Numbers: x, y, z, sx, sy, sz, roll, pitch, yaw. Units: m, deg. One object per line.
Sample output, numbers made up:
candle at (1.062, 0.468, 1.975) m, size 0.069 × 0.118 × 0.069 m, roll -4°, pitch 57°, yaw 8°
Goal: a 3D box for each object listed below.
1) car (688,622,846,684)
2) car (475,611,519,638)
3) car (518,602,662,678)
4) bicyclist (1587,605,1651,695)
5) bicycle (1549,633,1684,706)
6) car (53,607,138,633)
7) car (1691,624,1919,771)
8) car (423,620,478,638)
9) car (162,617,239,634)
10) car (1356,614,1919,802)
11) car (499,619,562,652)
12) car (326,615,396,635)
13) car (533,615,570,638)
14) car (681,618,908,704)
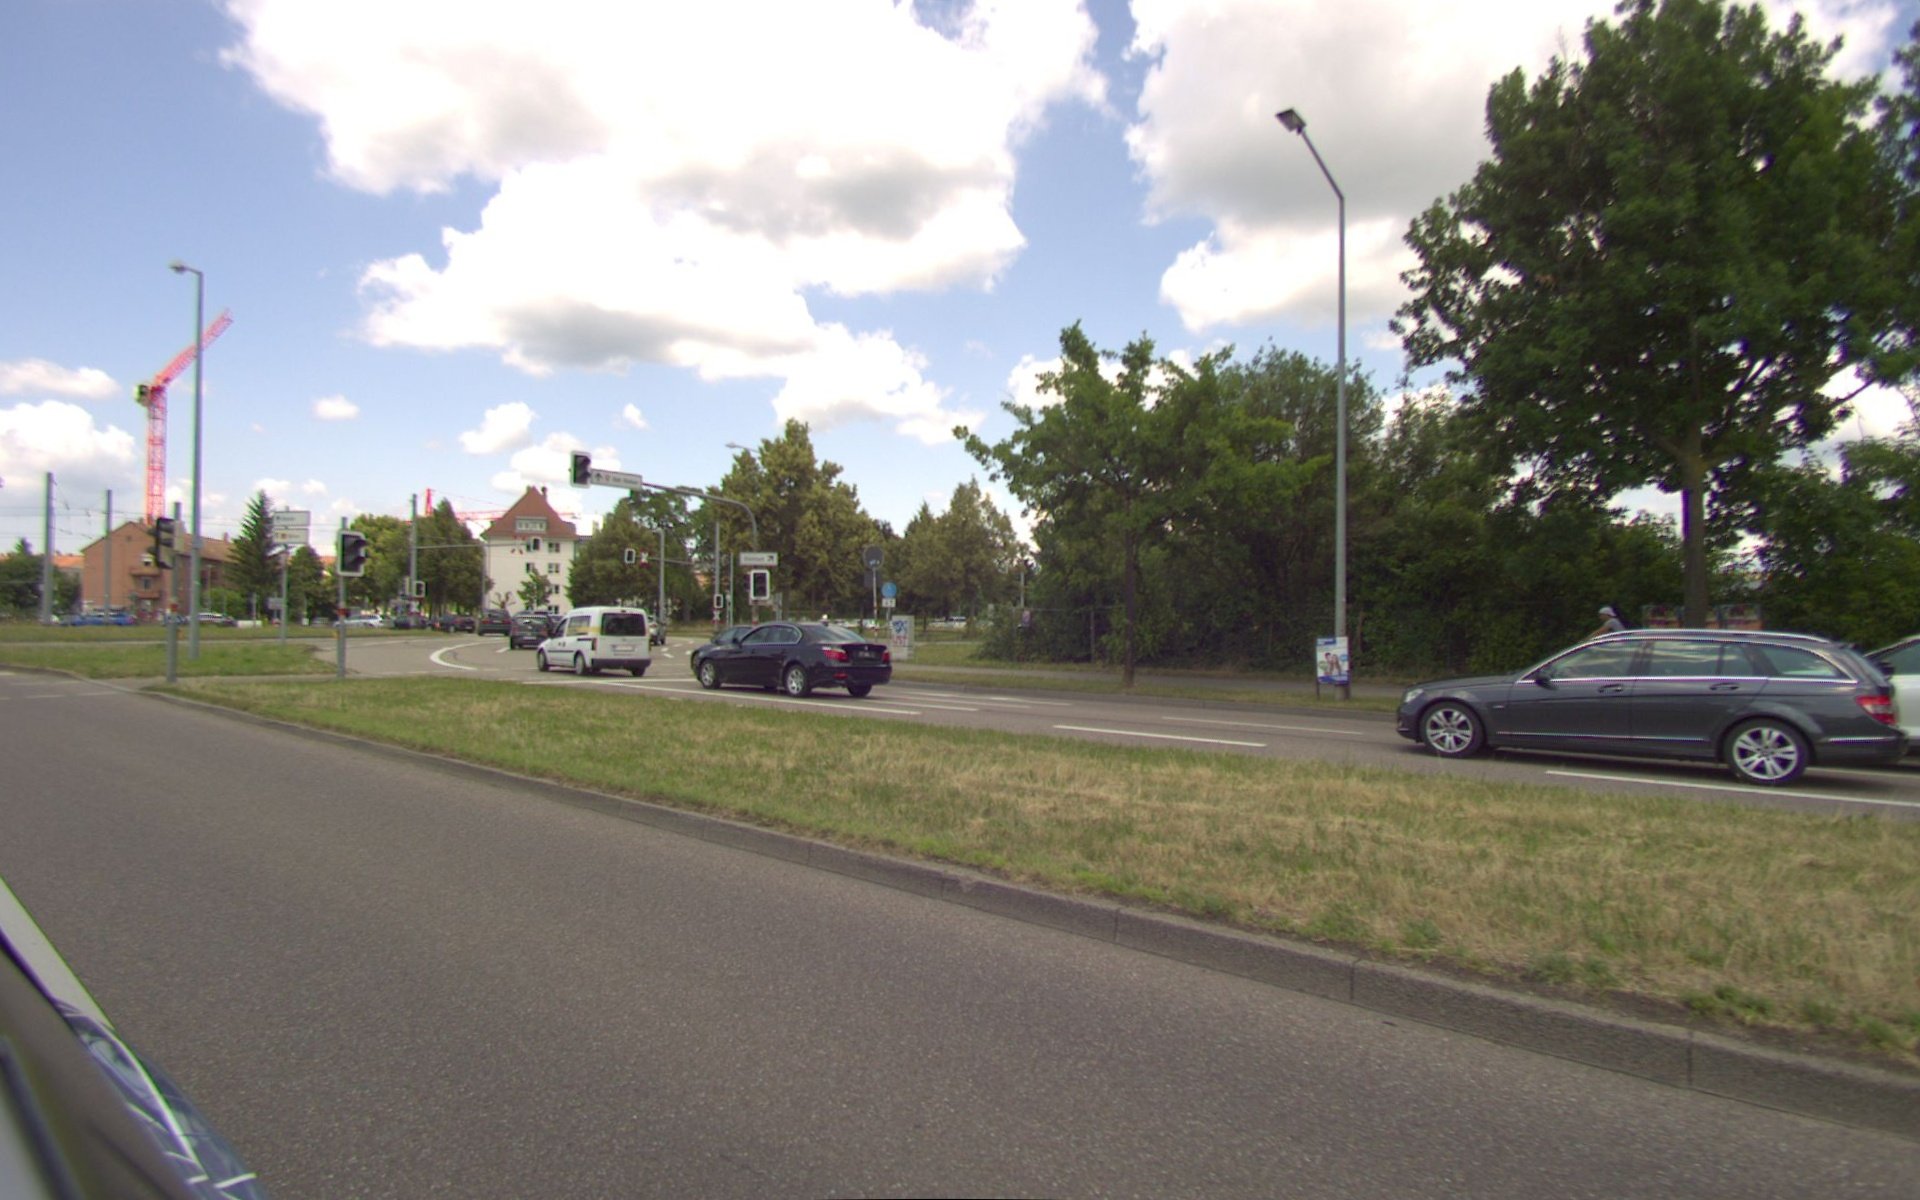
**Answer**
car at (-5.069, 1.339, 26.197) m, size 1.817 × 1.454 × 4.421 m, roll 4°, pitch -4°, yaw -45°
car at (-28.705, 1.531, 62.872) m, size 1.881 × 1.604 × 4.606 m, roll 1°, pitch -1°, yaw -17°
car at (-9.729, 1.024, 26.385) m, size 1.815 × 1.813 × 4.793 m, roll 4°, pitch -3°, yaw -42°
bicyclist at (12.157, 0.897, 18.664) m, size 0.883 × 1.576 × 0.821 m, roll -1°, pitch 0°, yaw 40°
bicycle at (12.117, 1.251, 18.714) m, size 2.015 × 1.228 × 0.753 m, roll -1°, pitch 0°, yaw 41°
car at (-62.158, 1.428, 72.829) m, size 4.331 × 1.812 × 1.762 m, roll 0°, pitch -1°, yaw -24°
car at (10.947, 1.061, 11.312) m, size 4.365 × 1.552 × 1.890 m, roll -1°, pitch -3°, yaw 41°
car at (-38.985, 2.201, 77.432) m, size 3.961 × 1.351 × 1.785 m, roll -1°, pitch -3°, yaw 29°
car at (-59.261, 1.985, 79.054) m, size 4.413 × 1.333 × 1.961 m, roll 0°, pitch -1°, yaw -23°
car at (7.038, 0.985, 10.748) m, size 5.010 × 1.603 × 1.704 m, roll -1°, pitch -3°, yaw 41°
car at (-18.565, 1.535, 43.931) m, size 1.813 × 1.320 × 4.801 m, roll 2°, pitch -3°, yaw -15°
car at (-47.534, 2.011, 80.338) m, size 4.456 × 1.533 × 2.118 m, roll -1°, pitch -1°, yaw 9°
car at (-26.681, 1.723, 66.079) m, size 1.878 × 1.434 × 4.205 m, roll 1°, pitch -1°, yaw -27°
car at (-3.395, 1.152, 20.202) m, size 4.750 × 1.491 × 1.819 m, roll -1°, pitch -3°, yaw 41°
